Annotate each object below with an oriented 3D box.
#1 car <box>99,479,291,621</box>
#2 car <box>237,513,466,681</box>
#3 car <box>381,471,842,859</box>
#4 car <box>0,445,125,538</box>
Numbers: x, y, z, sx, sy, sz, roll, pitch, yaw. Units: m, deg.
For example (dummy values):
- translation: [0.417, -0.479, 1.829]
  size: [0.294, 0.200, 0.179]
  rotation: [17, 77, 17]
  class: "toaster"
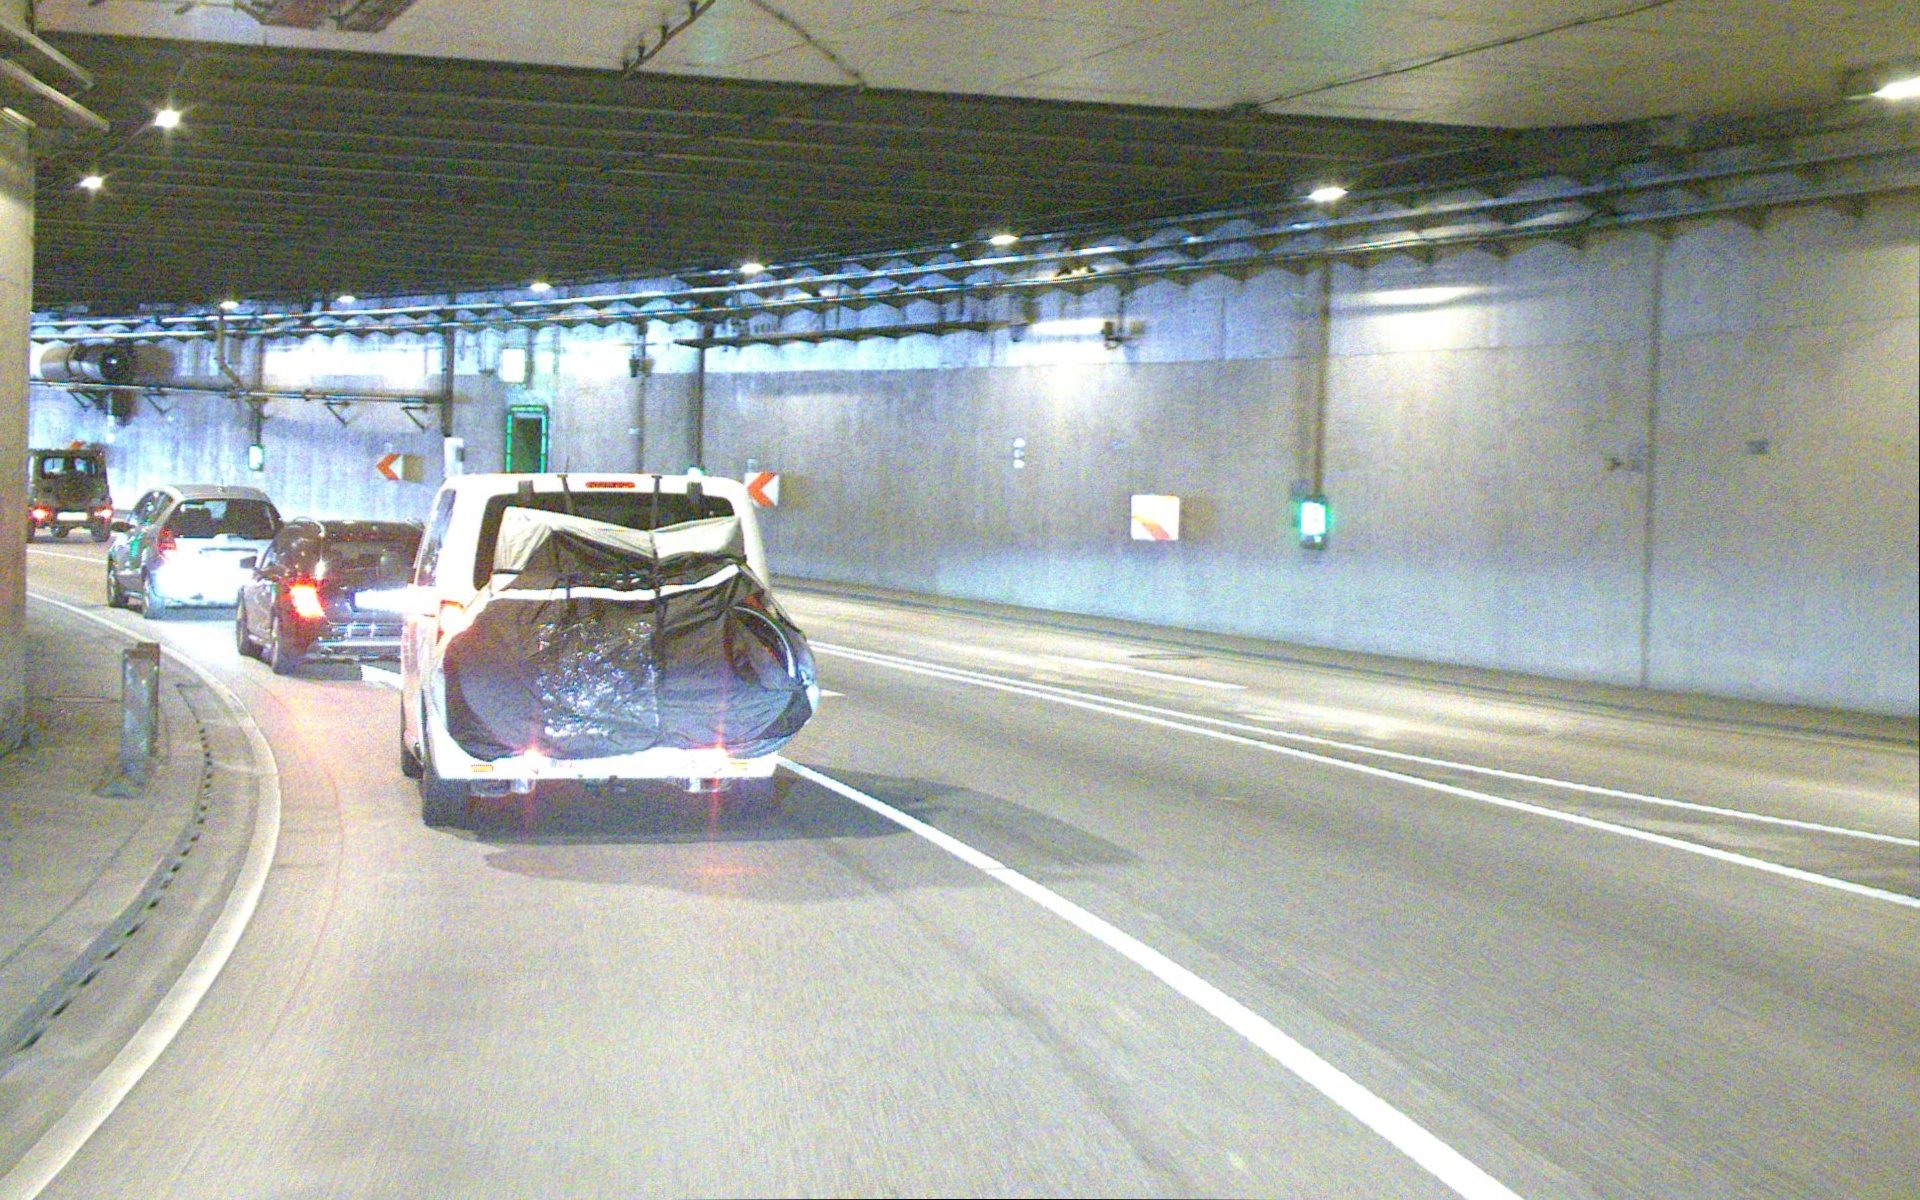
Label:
- translation: [-9.257, -0.617, 41.424]
  size: [1.602, 1.588, 3.356]
  rotation: [2, 0, -23]
  class: "car"
- translation: [-5.732, -0.065, 32.145]
  size: [1.602, 1.390, 3.278]
  rotation: [0, 3, -19]
  class: "car"
- translation: [-2.102, 0.238, 19.179]
  size: [1.993, 1.841, 5.303]
  rotation: [-1, 2, -12]
  class: "car"
- translation: [-16.457, -1.978, 62.547]
  size: [1.602, 1.624, 3.356]
  rotation: [0, 2, -29]
  class: "car"
